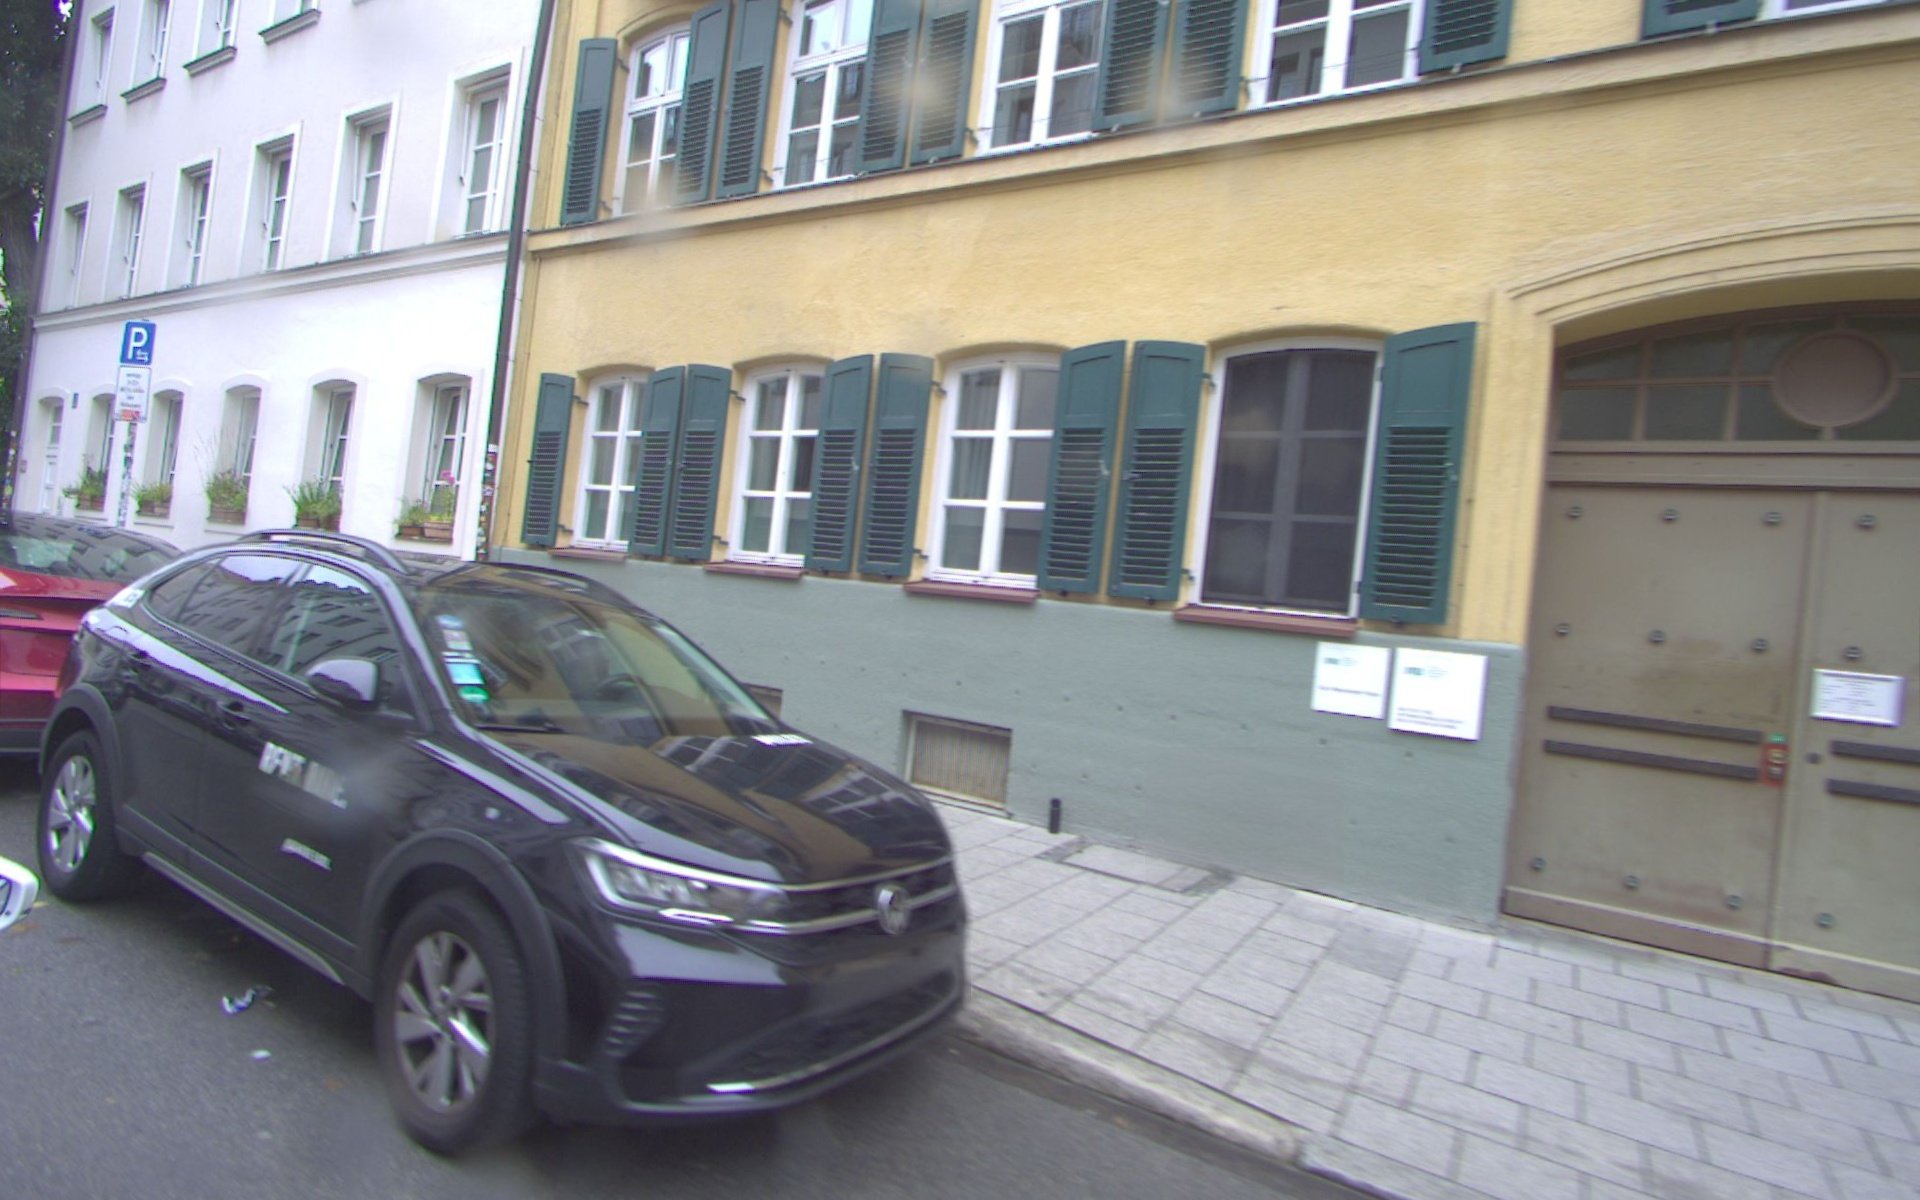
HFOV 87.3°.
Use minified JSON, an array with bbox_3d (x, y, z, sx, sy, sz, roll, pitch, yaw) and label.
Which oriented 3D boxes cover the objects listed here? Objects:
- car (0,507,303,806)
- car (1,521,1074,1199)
[{"bbox_3d":[-6.274,0.114,6.341,4.383,1.441,1.716,6,-1,31],"label":"car"},{"bbox_3d":[-1.786,0.675,3.873,3.934,1.482,1.748,7,-1,32],"label":"car"}]
